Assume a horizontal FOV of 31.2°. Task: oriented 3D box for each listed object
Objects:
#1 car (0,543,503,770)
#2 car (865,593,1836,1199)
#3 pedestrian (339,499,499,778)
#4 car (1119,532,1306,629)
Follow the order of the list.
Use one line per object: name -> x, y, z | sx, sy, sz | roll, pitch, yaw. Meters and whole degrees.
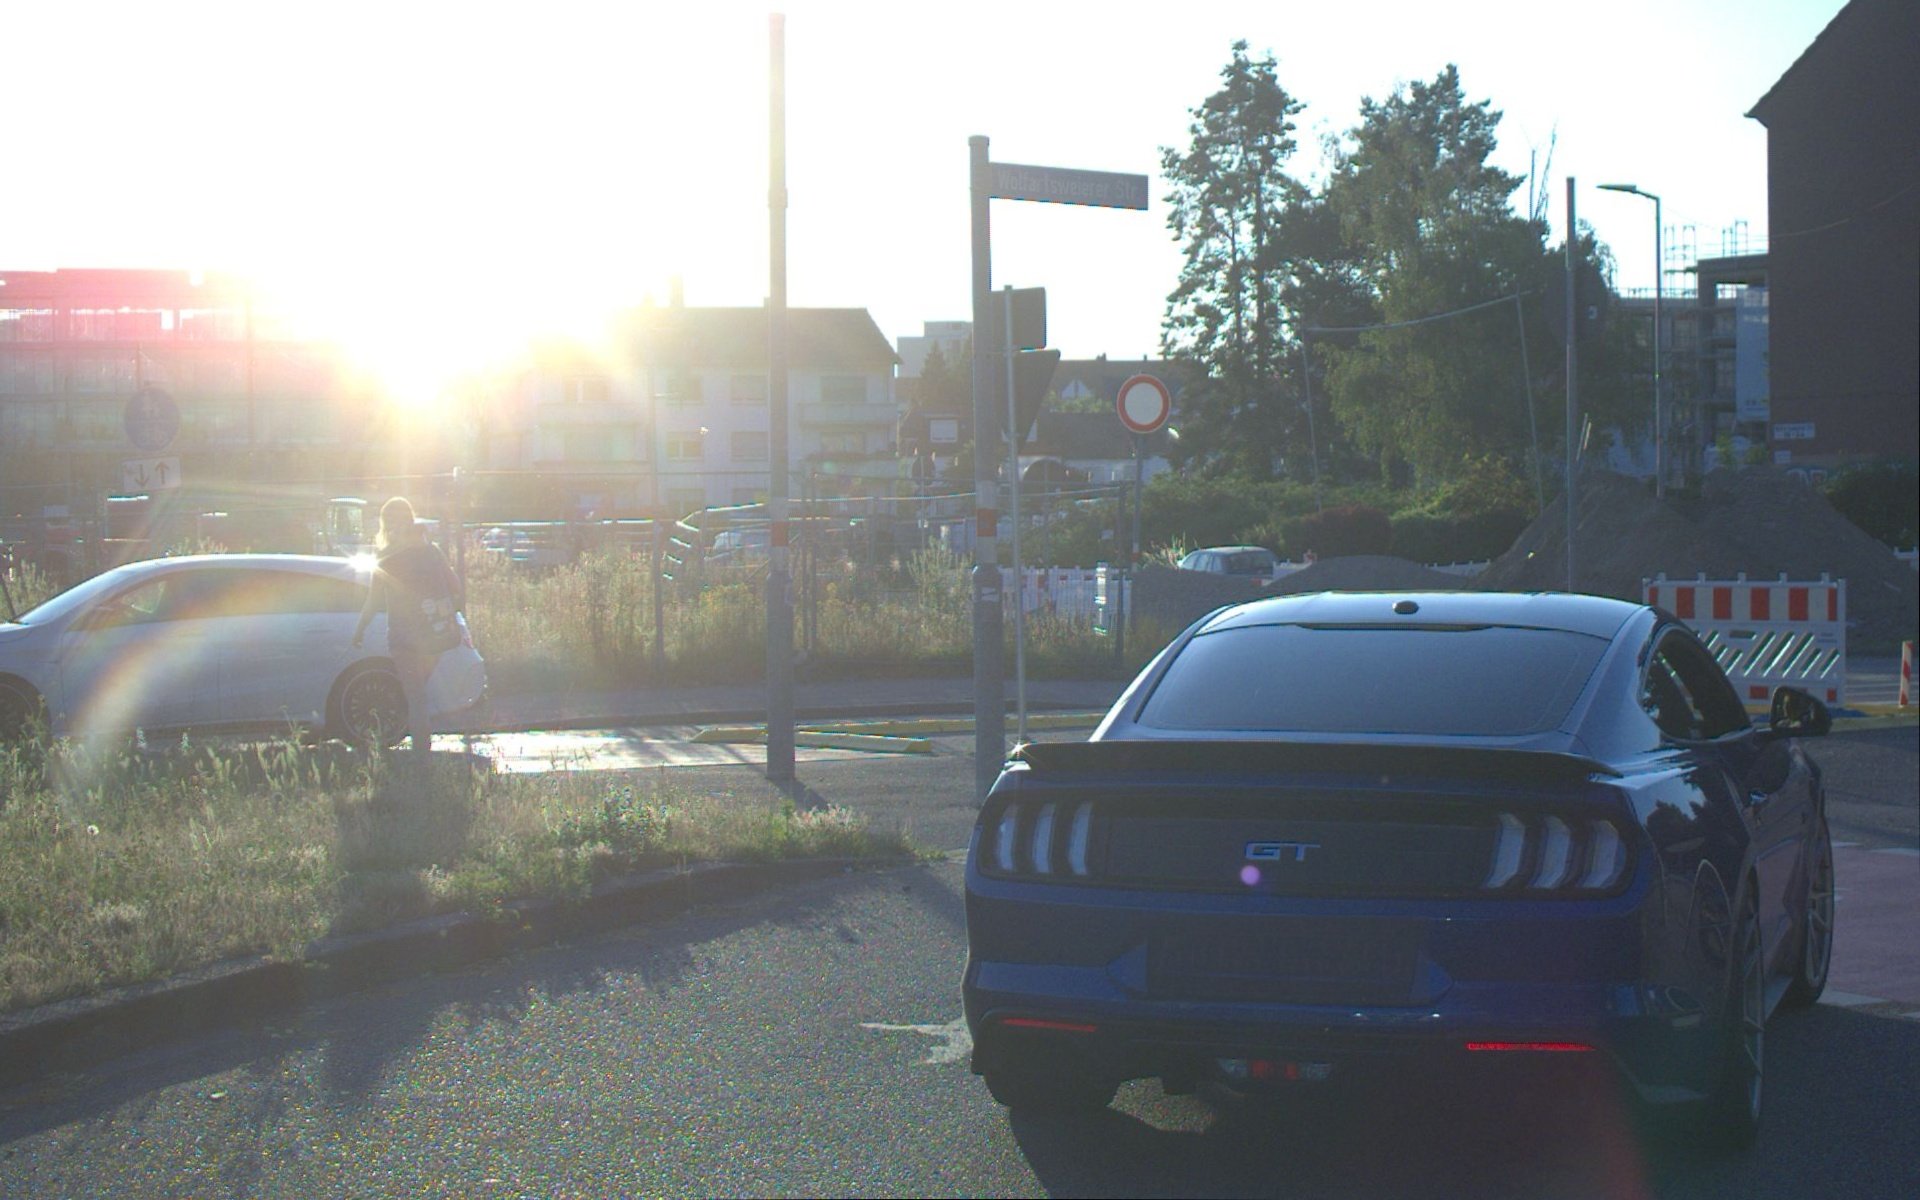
car -> -5.874, 0.372, 24.834 | 4.641, 1.448, 2.075 | -2, 2, -28
car -> 1.388, 0.705, 9.804 | 1.953, 1.337, 4.667 | 1, 1, 17
pedestrian -> -3.318, 0.222, 21.138 | 0.843, 1.680, 0.887 | 0, 1, -1
car -> 4.587, -0.391, 63.074 | 1.993, 1.700, 4.001 | -1, 1, -19
